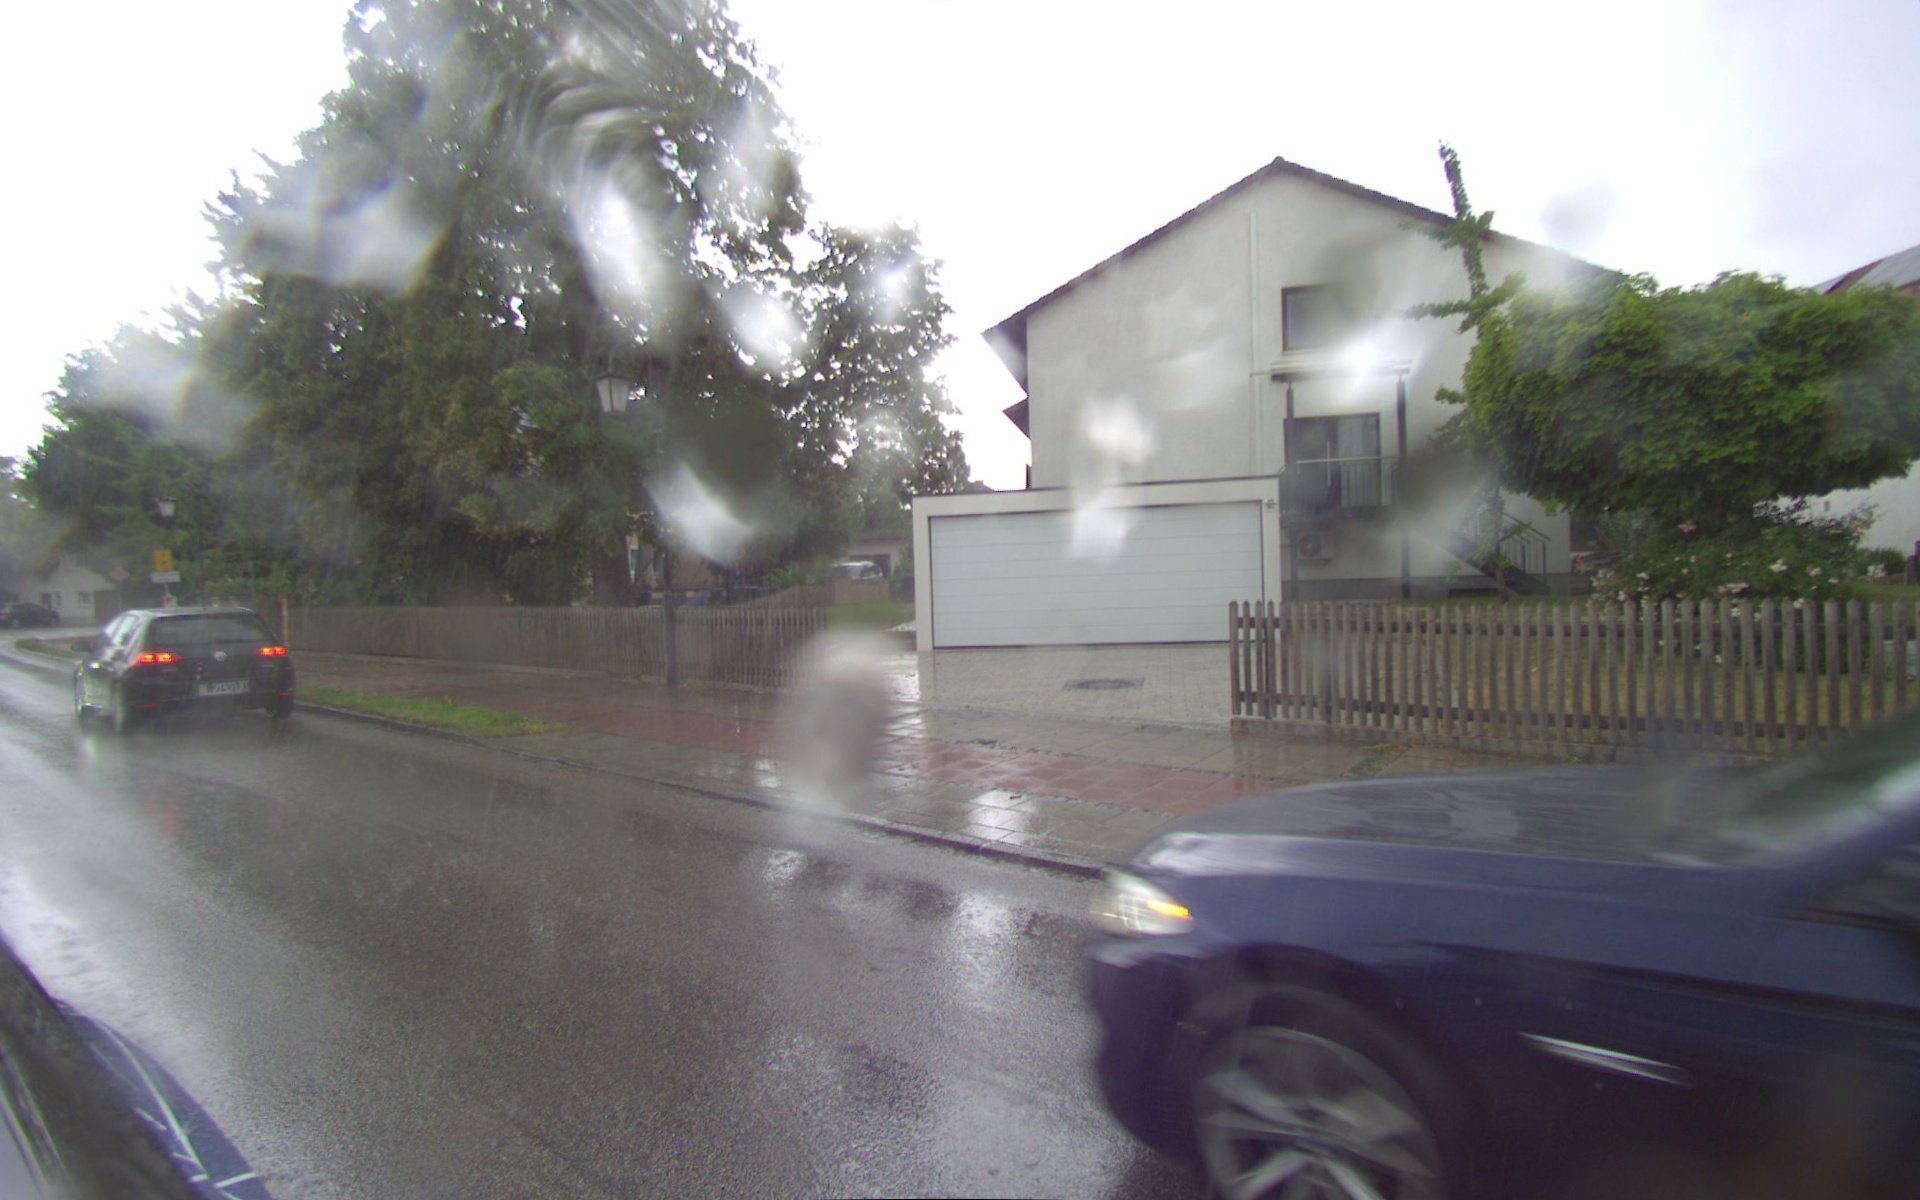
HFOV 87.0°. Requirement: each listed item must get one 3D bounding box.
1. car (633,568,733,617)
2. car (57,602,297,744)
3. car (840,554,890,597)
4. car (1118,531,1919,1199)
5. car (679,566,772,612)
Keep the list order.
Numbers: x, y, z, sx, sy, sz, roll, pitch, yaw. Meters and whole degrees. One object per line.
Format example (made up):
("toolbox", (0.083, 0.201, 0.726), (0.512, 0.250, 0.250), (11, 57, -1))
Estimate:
("car", (-11.792, -0.332, 43.226), (3.613, 1.815, 1.839), (-3, 2, 7))
("car", (-10.086, 0.814, 12.932), (3.999, 1.476, 1.690), (-1, 1, 42))
("car", (-5.304, -1.339, 56.865), (1.767, 2.311, 3.838), (-1, 0, 11))
("car", (2.594, 0.603, 1.518), (4.371, 1.476, 1.762), (-1, 1, 40))
("car", (-10.624, -0.528, 46.022), (3.613, 1.815, 1.839), (-3, 2, 7))
